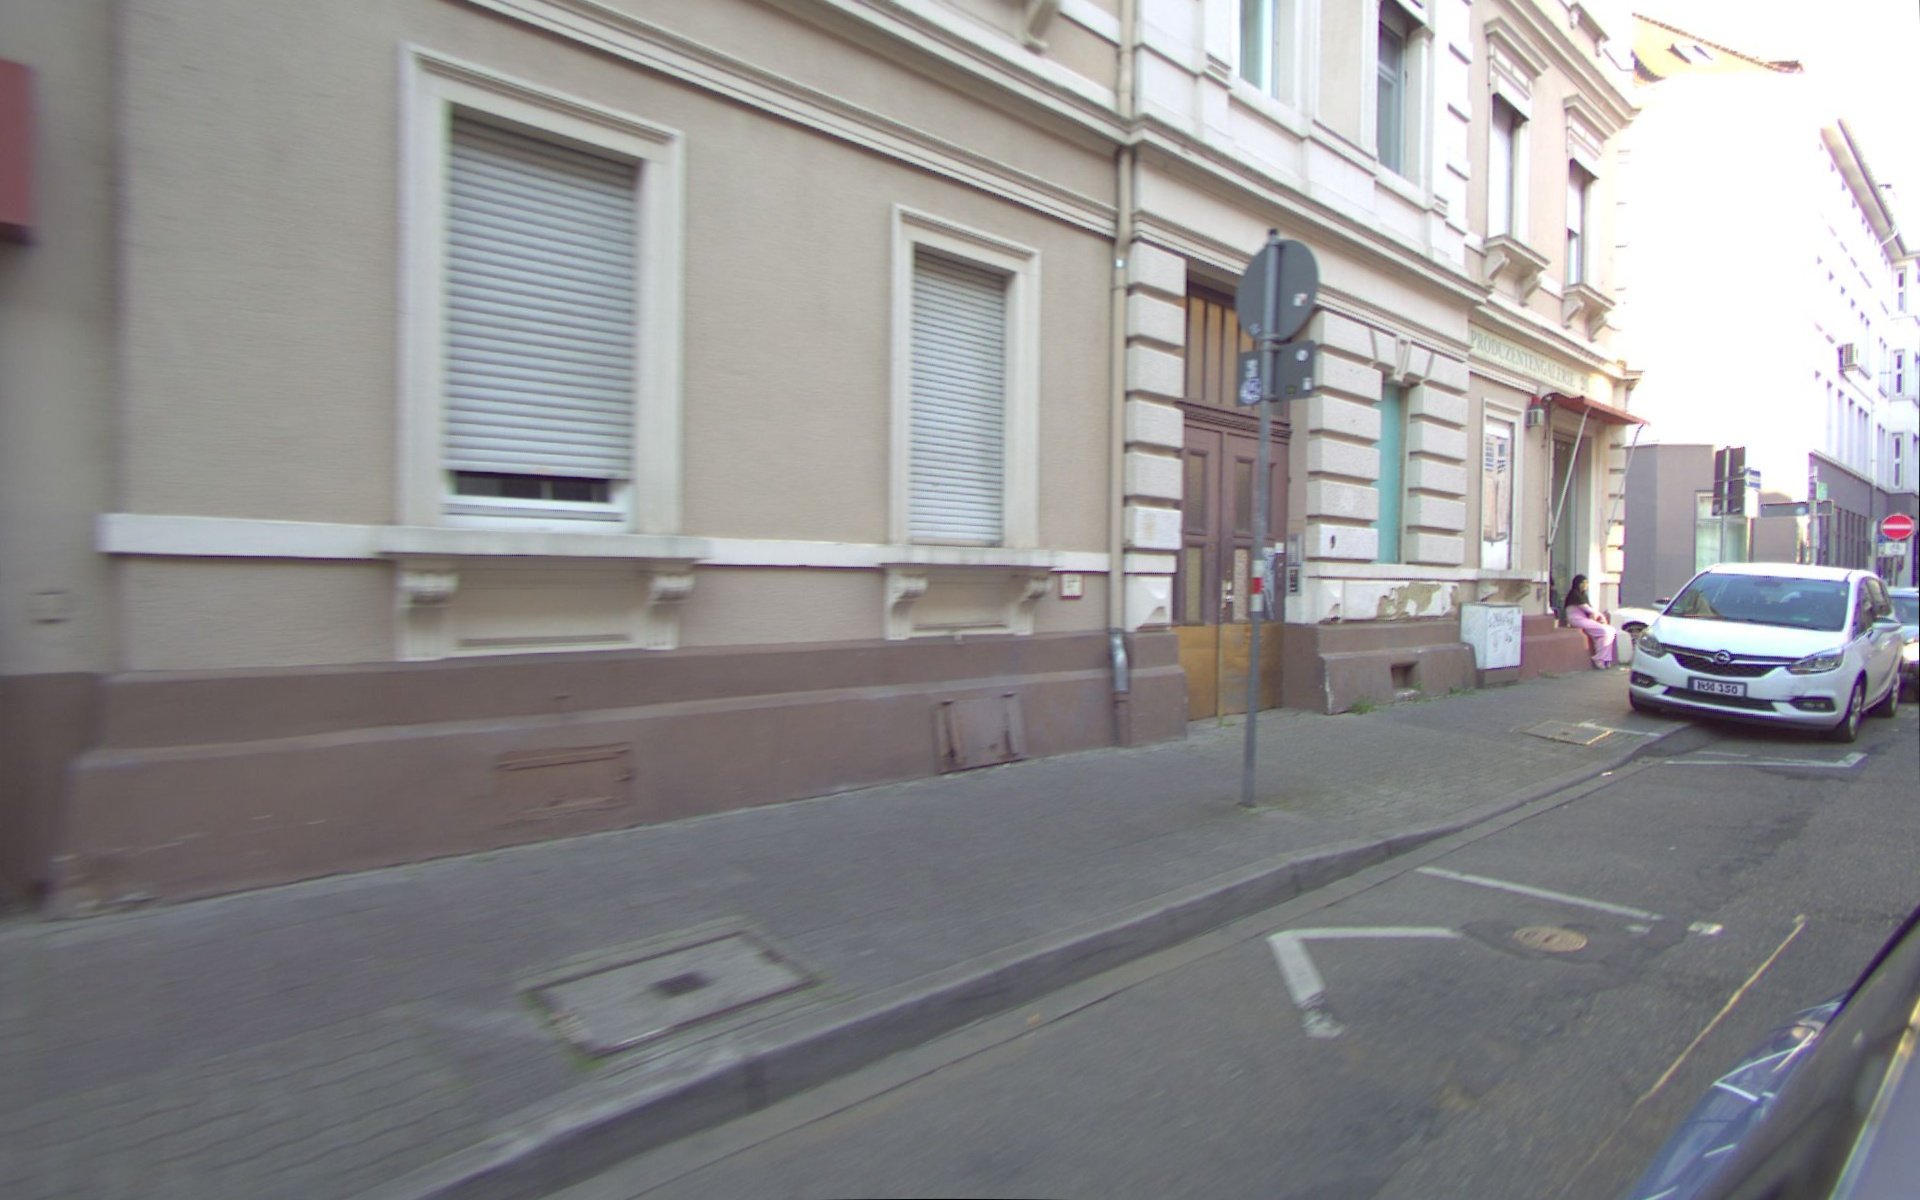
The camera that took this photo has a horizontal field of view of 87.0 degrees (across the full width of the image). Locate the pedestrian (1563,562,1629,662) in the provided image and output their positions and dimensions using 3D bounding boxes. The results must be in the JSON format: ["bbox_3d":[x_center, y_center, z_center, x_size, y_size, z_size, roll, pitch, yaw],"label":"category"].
[{"bbox_3d":[9.753,0.161,15.531,0.570,1.490,0.716,0,1,-41],"label":"pedestrian"}]

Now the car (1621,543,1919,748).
[{"bbox_3d":[8.863,0.348,10.846,4.384,1.744,1.820,0,3,-41],"label":"car"}]

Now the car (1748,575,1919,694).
[{"bbox_3d":[12.899,0.393,14.188,4.643,1.426,1.889,0,1,-39],"label":"car"}]
